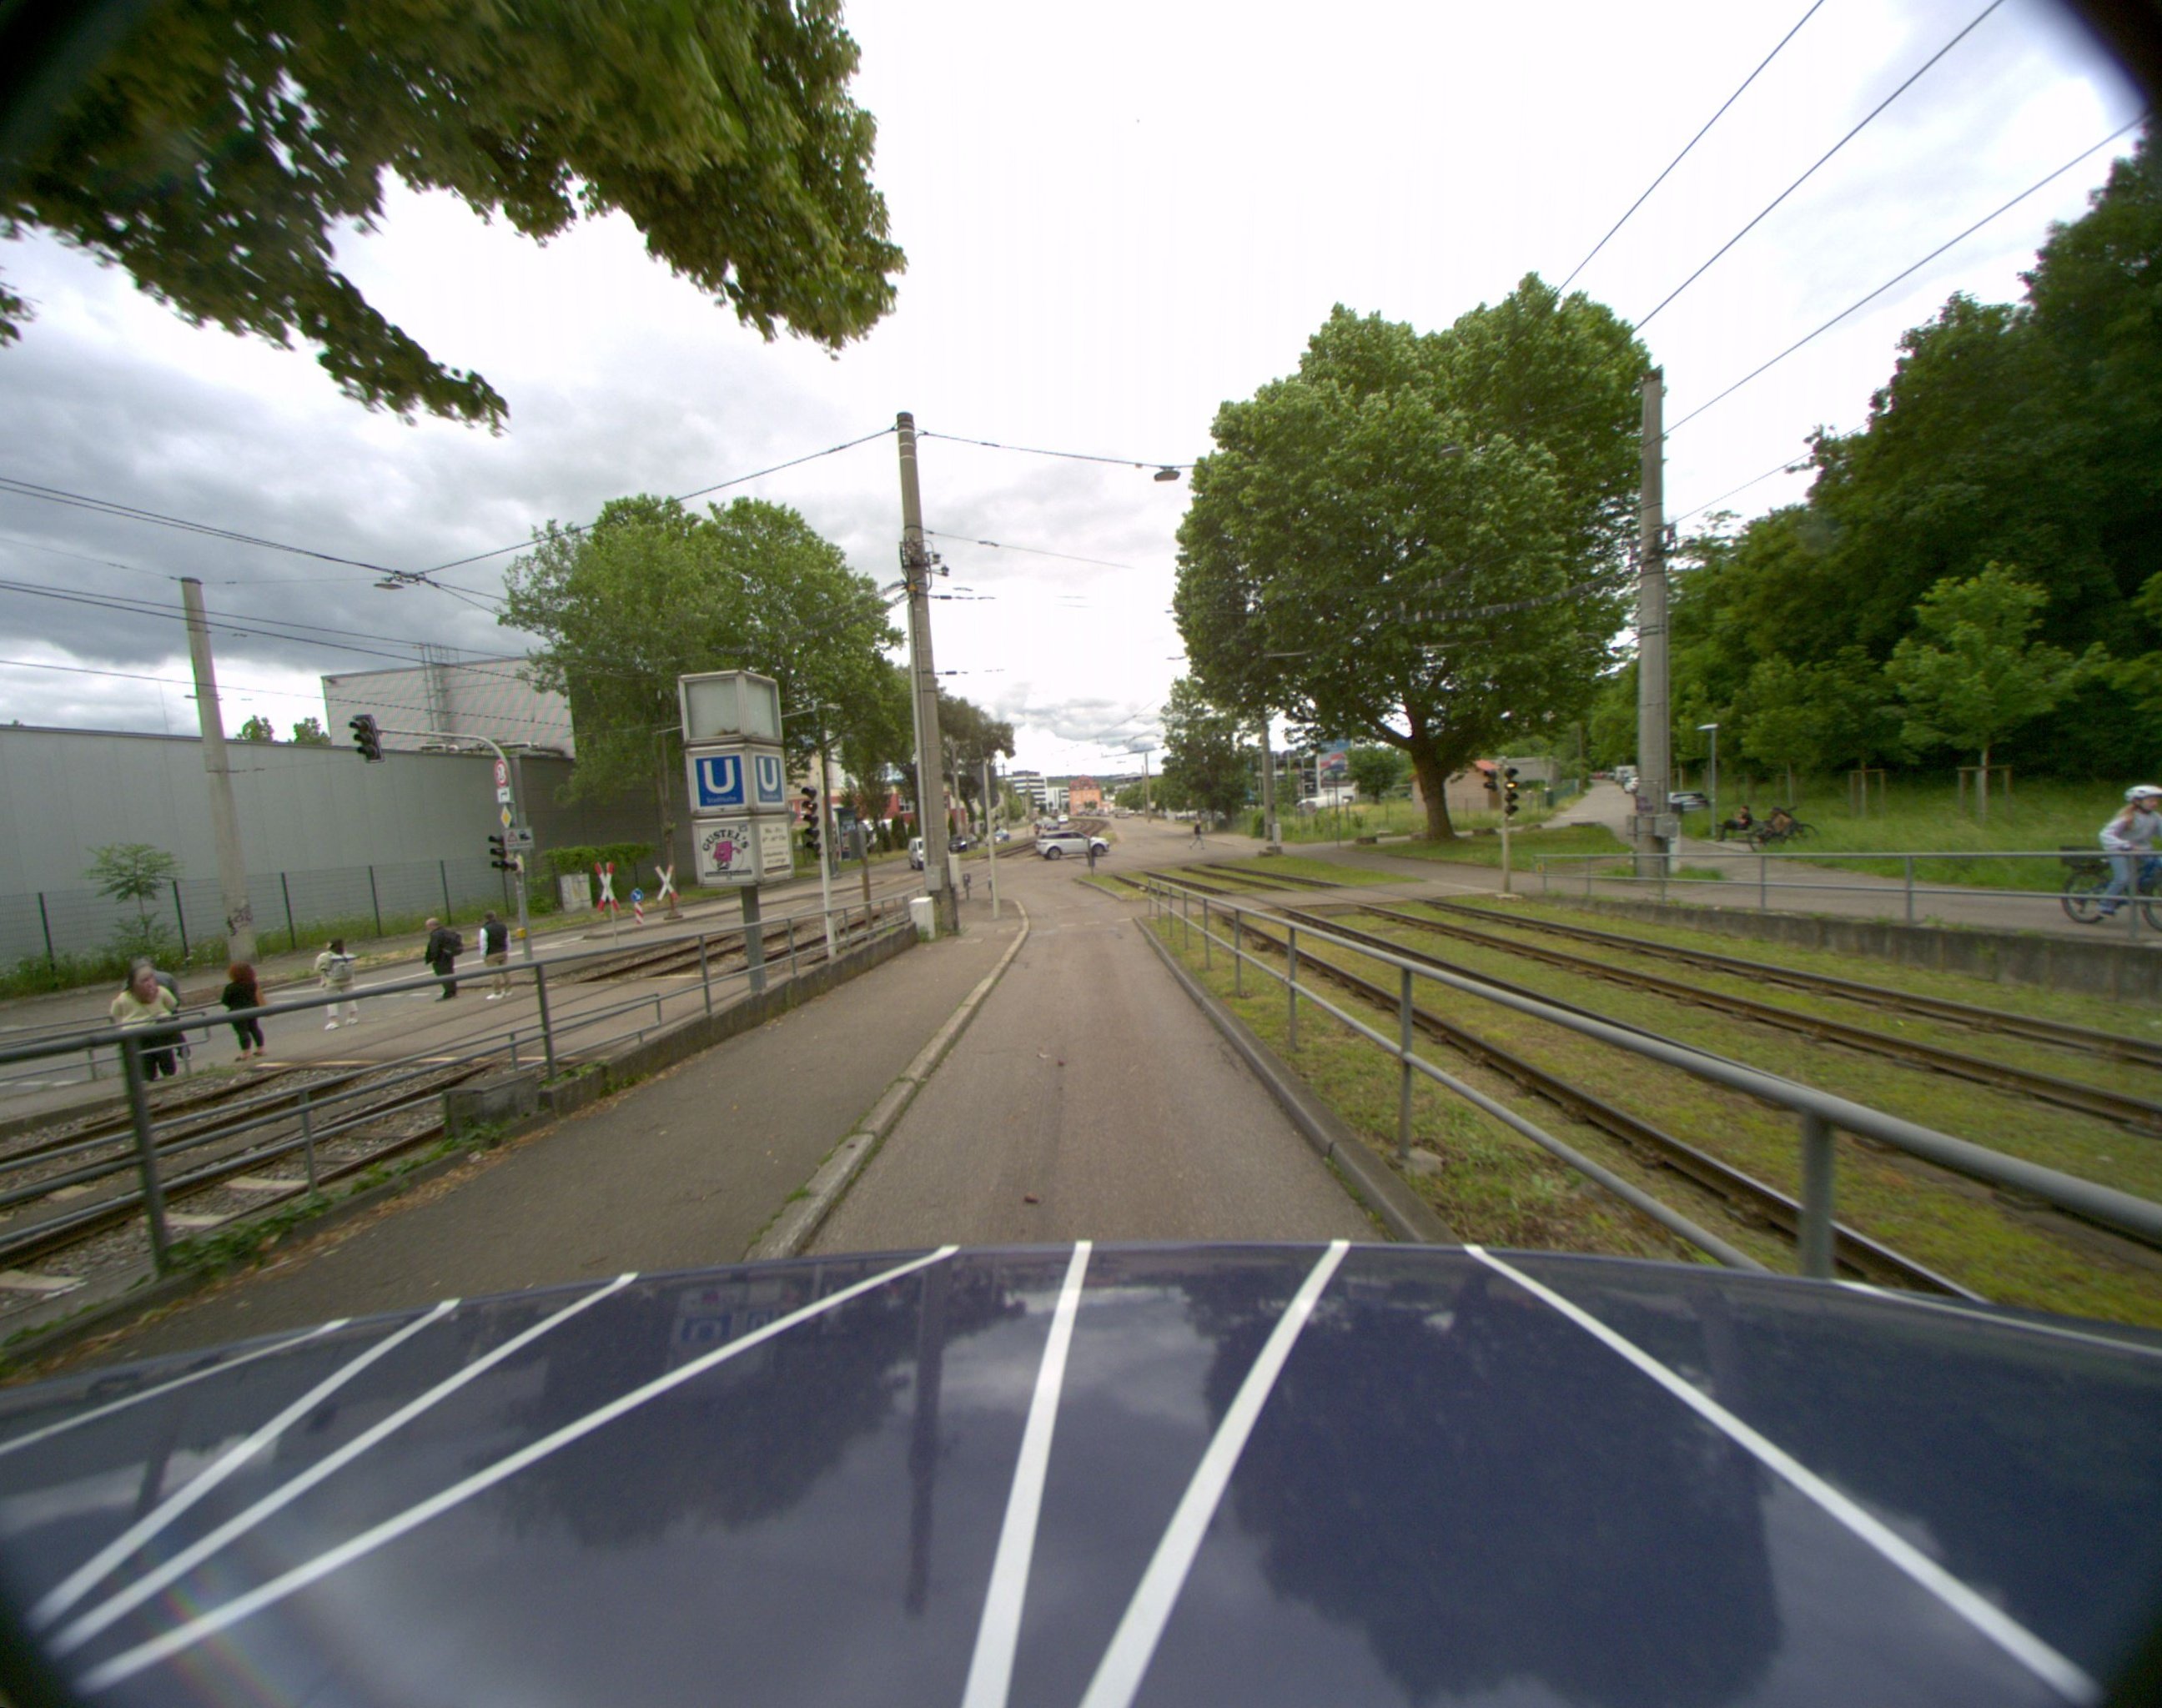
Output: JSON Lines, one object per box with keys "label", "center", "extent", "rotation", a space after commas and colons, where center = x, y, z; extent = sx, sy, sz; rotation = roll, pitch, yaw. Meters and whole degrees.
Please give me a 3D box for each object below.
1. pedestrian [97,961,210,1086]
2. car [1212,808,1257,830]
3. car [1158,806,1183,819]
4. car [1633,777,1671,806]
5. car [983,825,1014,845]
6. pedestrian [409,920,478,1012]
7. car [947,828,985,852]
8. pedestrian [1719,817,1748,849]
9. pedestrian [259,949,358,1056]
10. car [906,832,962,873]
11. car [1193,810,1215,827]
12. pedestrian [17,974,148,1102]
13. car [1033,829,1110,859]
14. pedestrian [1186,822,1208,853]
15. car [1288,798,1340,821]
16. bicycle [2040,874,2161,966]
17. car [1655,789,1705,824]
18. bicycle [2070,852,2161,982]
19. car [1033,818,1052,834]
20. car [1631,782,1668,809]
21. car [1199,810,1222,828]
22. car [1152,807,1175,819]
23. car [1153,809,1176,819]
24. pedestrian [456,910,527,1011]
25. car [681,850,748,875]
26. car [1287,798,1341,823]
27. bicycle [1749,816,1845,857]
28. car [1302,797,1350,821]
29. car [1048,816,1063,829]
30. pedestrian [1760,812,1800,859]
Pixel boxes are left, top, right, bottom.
{"label": "pedestrian", "center": [-14.567, 2.648, 11.959], "extent": [0.550, 1.749, 0.737], "rotation": [-6, 4, 13]}
{"label": "car", "center": [19.591, -4.491, 96.968], "extent": [5.267, 2.256, 1.999], "rotation": [-7, 4, 4]}
{"label": "car", "center": [18.509, -8.579, 157.785], "extent": [4.636, 2.197, 2.107], "rotation": [-7, 4, -1]}
{"label": "car", "center": [40.389, -4.446, 53.788], "extent": [1.905, 1.604, 3.685], "rotation": [-4, 4, 34]}
{"label": "car", "center": [-8.069, -1.872, 74.741], "extent": [1.998, 1.548, 4.559], "rotation": [-5, 4, 5]}
{"label": "pedestrian", "center": [-12.859, 2.245, 15.360], "extent": [0.738, 1.656, 0.680], "rotation": [-9, 5, -30]}
{"label": "car", "center": [-9.473, -1.167, 62.907], "extent": [1.998, 1.548, 4.559], "rotation": [-5, 4, 5]}
{"label": "pedestrian", "center": [21.733, -0.695, 25.328], "extent": [0.531, 0.984, 0.620], "rotation": [-5, 4, 23]}
{"label": "pedestrian", "center": [-13.552, 2.595, 13.348], "extent": [0.681, 1.656, 0.737], "rotation": [-6, 4, 6]}
{"label": "car", "center": [-8.641, -0.168, 44.182], "extent": [2.001, 1.992, 5.022], "rotation": [-6, 5, -23]}
{"label": "car", "center": [18.340, -5.318, 113.314], "extent": [2.141, 2.105, 4.772], "rotation": [-7, 4, -1]}
{"label": "pedestrian", "center": [-14.687, 2.690, 11.195], "extent": [0.681, 1.656, 0.737], "rotation": [-6, 4, 12]}
{"label": "car", "center": [-0.576, -0.580, 45.259], "extent": [4.270, 1.680, 1.997], "rotation": [-1, 1, -13]}
{"label": "pedestrian", "center": [7.178, -1.013, 47.083], "extent": [1.119, 1.751, 0.813], "rotation": [-6, 4, 4]}
{"label": "car", "center": [29.559, -5.669, 96.550], "extent": [5.839, 2.256, 2.055], "rotation": [-5, 4, 29]}
{"label": "bicycle", "center": [11.261, 0.673, 8.184], "extent": [0.454, 0.734, 1.655], "rotation": [-6, 1, 27]}
{"label": "car", "center": [30.877, -2.480, 39.225], "extent": [1.696, 1.416, 3.507], "rotation": [-4, 4, 34]}
{"label": "bicycle", "center": [11.293, 0.668, 8.229], "extent": [0.454, 1.322, 0.517], "rotation": [-6, 1, 27]}
{"label": "car", "center": [-4.920, -3.585, 97.977], "extent": [1.868, 1.741, 3.998], "rotation": [-7, 4, 2]}
{"label": "car", "center": [37.211, -3.872, 49.768], "extent": [1.696, 1.416, 3.507], "rotation": [-4, 4, 34]}
{"label": "car", "center": [18.227, -4.951, 107.036], "extent": [2.141, 2.105, 4.773], "rotation": [-7, 4, 0]}
{"label": "car", "center": [18.675, -9.274, 171.877], "extent": [4.636, 2.197, 2.107], "rotation": [-7, 4, -1]}
{"label": "car", "center": [18.582, -8.934, 169.498], "extent": [4.636, 1.830, 2.107], "rotation": [-7, 4, -1]}
{"label": "pedestrian", "center": [-11.553, 2.055, 14.906], "extent": [0.803, 1.812, 0.671], "rotation": [-1, 7, 34]}
{"label": "car", "center": [-30.258, 0.680, 62.875], "extent": [1.994, 1.657, 4.507], "rotation": [-2, 4, 34]}
{"label": "car", "center": [28.487, -5.323, 92.944], "extent": [5.849, 2.256, 2.055], "rotation": [-5, 4, 29]}
{"label": "bicycle", "center": [19.175, -0.466, 20.397], "extent": [1.742, 0.881, 0.623], "rotation": [-5, 4, 28]}
{"label": "car", "center": [31.953, -5.861, 99.136], "extent": [5.652, 2.448, 1.982], "rotation": [-5, 4, 26]}
{"label": "car", "center": [-3.766, -4.723, 113.128], "extent": [1.868, 1.741, 3.998], "rotation": [-7, 4, 2]}
{"label": "pedestrian", "center": [19.767, -0.531, 21.492], "extent": [0.579, 1.228, 0.673], "rotation": [-5, 4, 21]}
